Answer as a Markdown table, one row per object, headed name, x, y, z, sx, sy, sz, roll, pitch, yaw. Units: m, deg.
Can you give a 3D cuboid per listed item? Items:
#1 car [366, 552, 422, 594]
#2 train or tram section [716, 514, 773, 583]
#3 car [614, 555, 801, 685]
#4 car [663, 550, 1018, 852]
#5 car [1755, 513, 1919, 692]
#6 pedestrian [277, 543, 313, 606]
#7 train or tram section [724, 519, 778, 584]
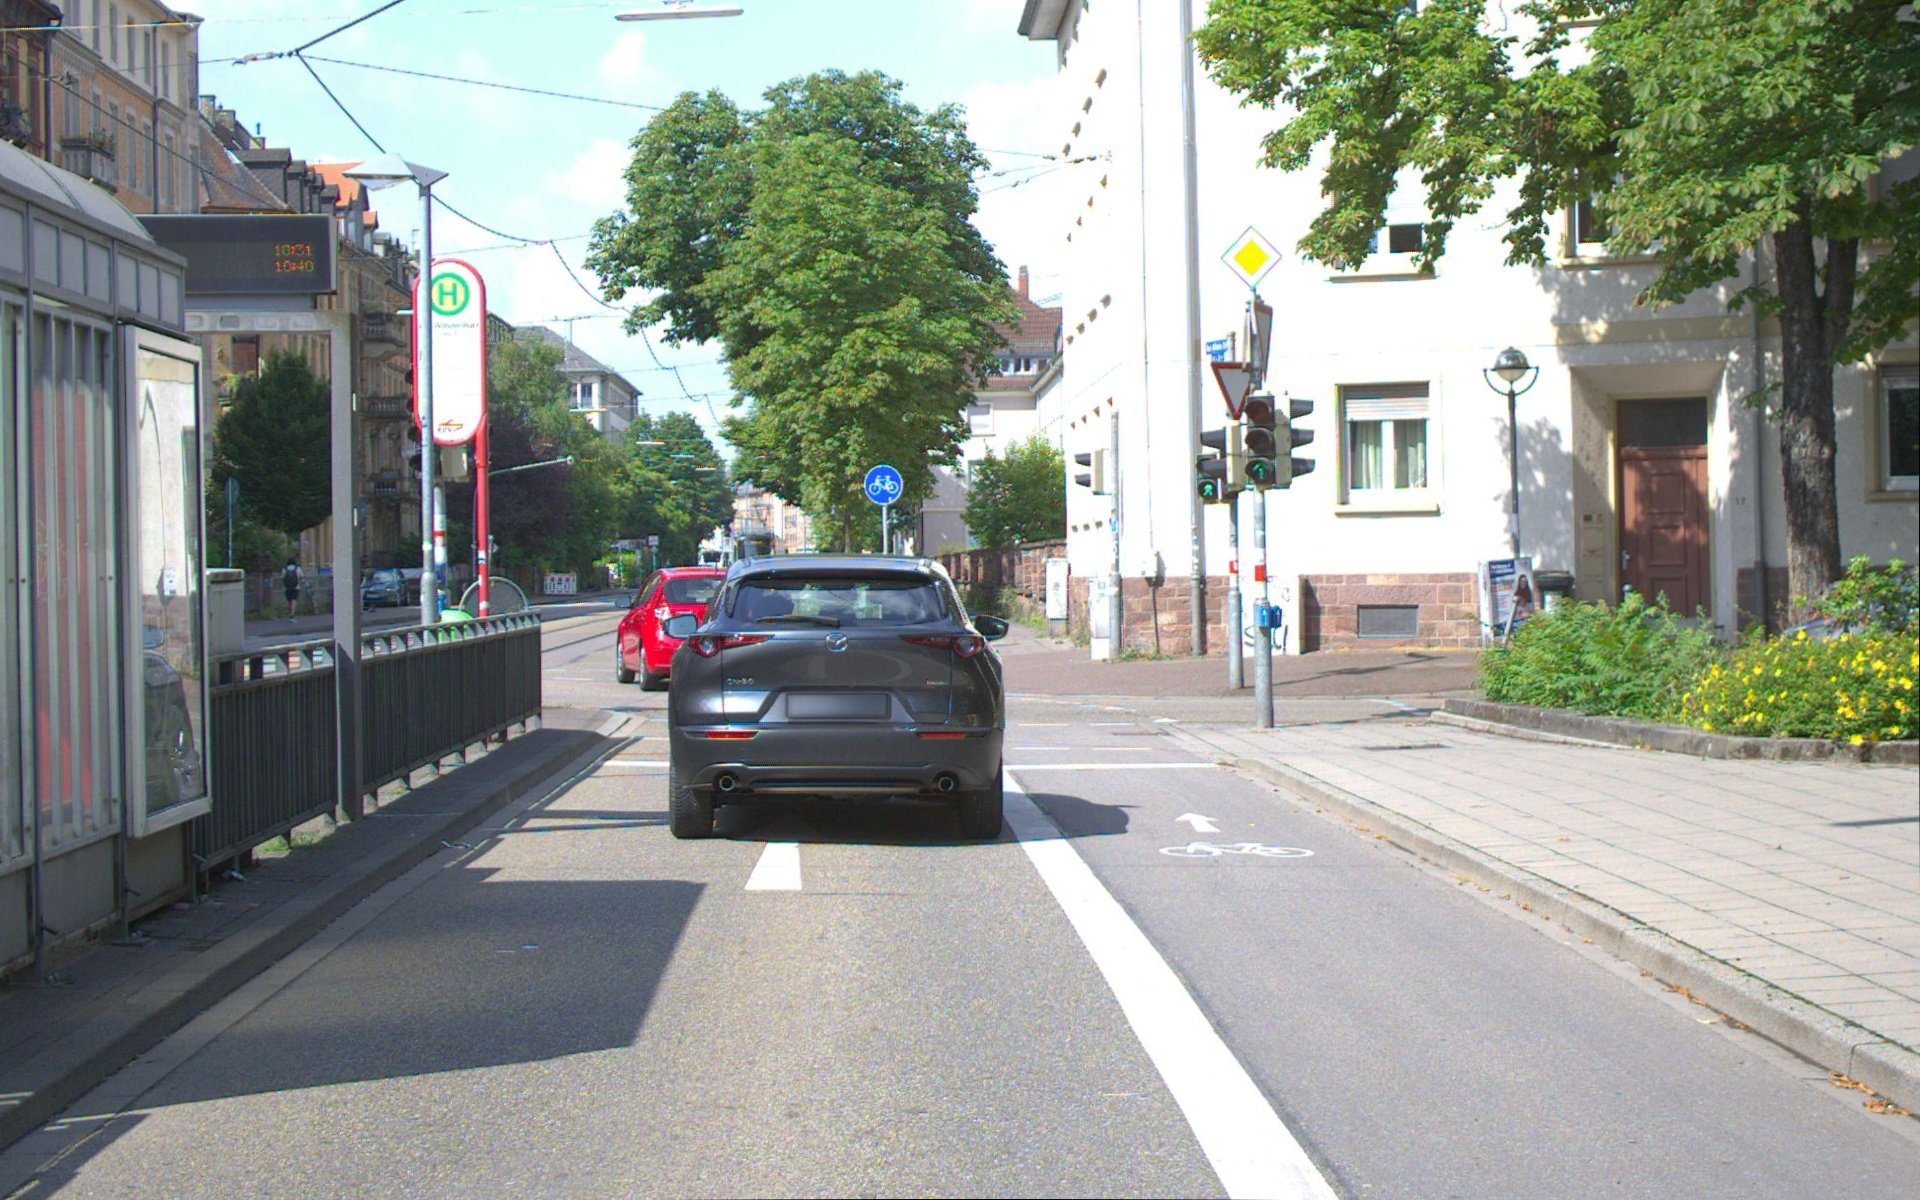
| name | x | y | z | sx | sy | sz | roll | pitch | yaw |
| --- | --- | --- | --- | --- | --- | --- | --- | --- | --- |
| car | -22.210 | -1.077 | 134.970 | 1.657 | 1.590 | 3.930 | -1 | 1 | -2 |
| train or tram section | -13.148 | -3.094 | 210.419 | 2.997 | 3.970 | 13.810 | -1 | 0 | -2 |
| car | -3.090 | 0.205 | 41.404 | 1.774 | 1.459 | 3.843 | 1 | 1 | -11 |
| car | -0.735 | 0.496 | 19.541 | 1.782 | 1.509 | 4.001 | 1 | 1 | -4 |
| car | 9.288 | -0.001 | 29.994 | 4.168 | 1.504 | 1.847 | 0 | 3 | 41 |
| pedestrian | -17.977 | -0.698 | 92.978 | 0.788 | 1.682 | 0.732 | -1 | 1 | 0 |
| train or tram section | -13.583 | -3.082 | 224.124 | 2.997 | 3.970 | 13.810 | -1 | 0 | -2 |
